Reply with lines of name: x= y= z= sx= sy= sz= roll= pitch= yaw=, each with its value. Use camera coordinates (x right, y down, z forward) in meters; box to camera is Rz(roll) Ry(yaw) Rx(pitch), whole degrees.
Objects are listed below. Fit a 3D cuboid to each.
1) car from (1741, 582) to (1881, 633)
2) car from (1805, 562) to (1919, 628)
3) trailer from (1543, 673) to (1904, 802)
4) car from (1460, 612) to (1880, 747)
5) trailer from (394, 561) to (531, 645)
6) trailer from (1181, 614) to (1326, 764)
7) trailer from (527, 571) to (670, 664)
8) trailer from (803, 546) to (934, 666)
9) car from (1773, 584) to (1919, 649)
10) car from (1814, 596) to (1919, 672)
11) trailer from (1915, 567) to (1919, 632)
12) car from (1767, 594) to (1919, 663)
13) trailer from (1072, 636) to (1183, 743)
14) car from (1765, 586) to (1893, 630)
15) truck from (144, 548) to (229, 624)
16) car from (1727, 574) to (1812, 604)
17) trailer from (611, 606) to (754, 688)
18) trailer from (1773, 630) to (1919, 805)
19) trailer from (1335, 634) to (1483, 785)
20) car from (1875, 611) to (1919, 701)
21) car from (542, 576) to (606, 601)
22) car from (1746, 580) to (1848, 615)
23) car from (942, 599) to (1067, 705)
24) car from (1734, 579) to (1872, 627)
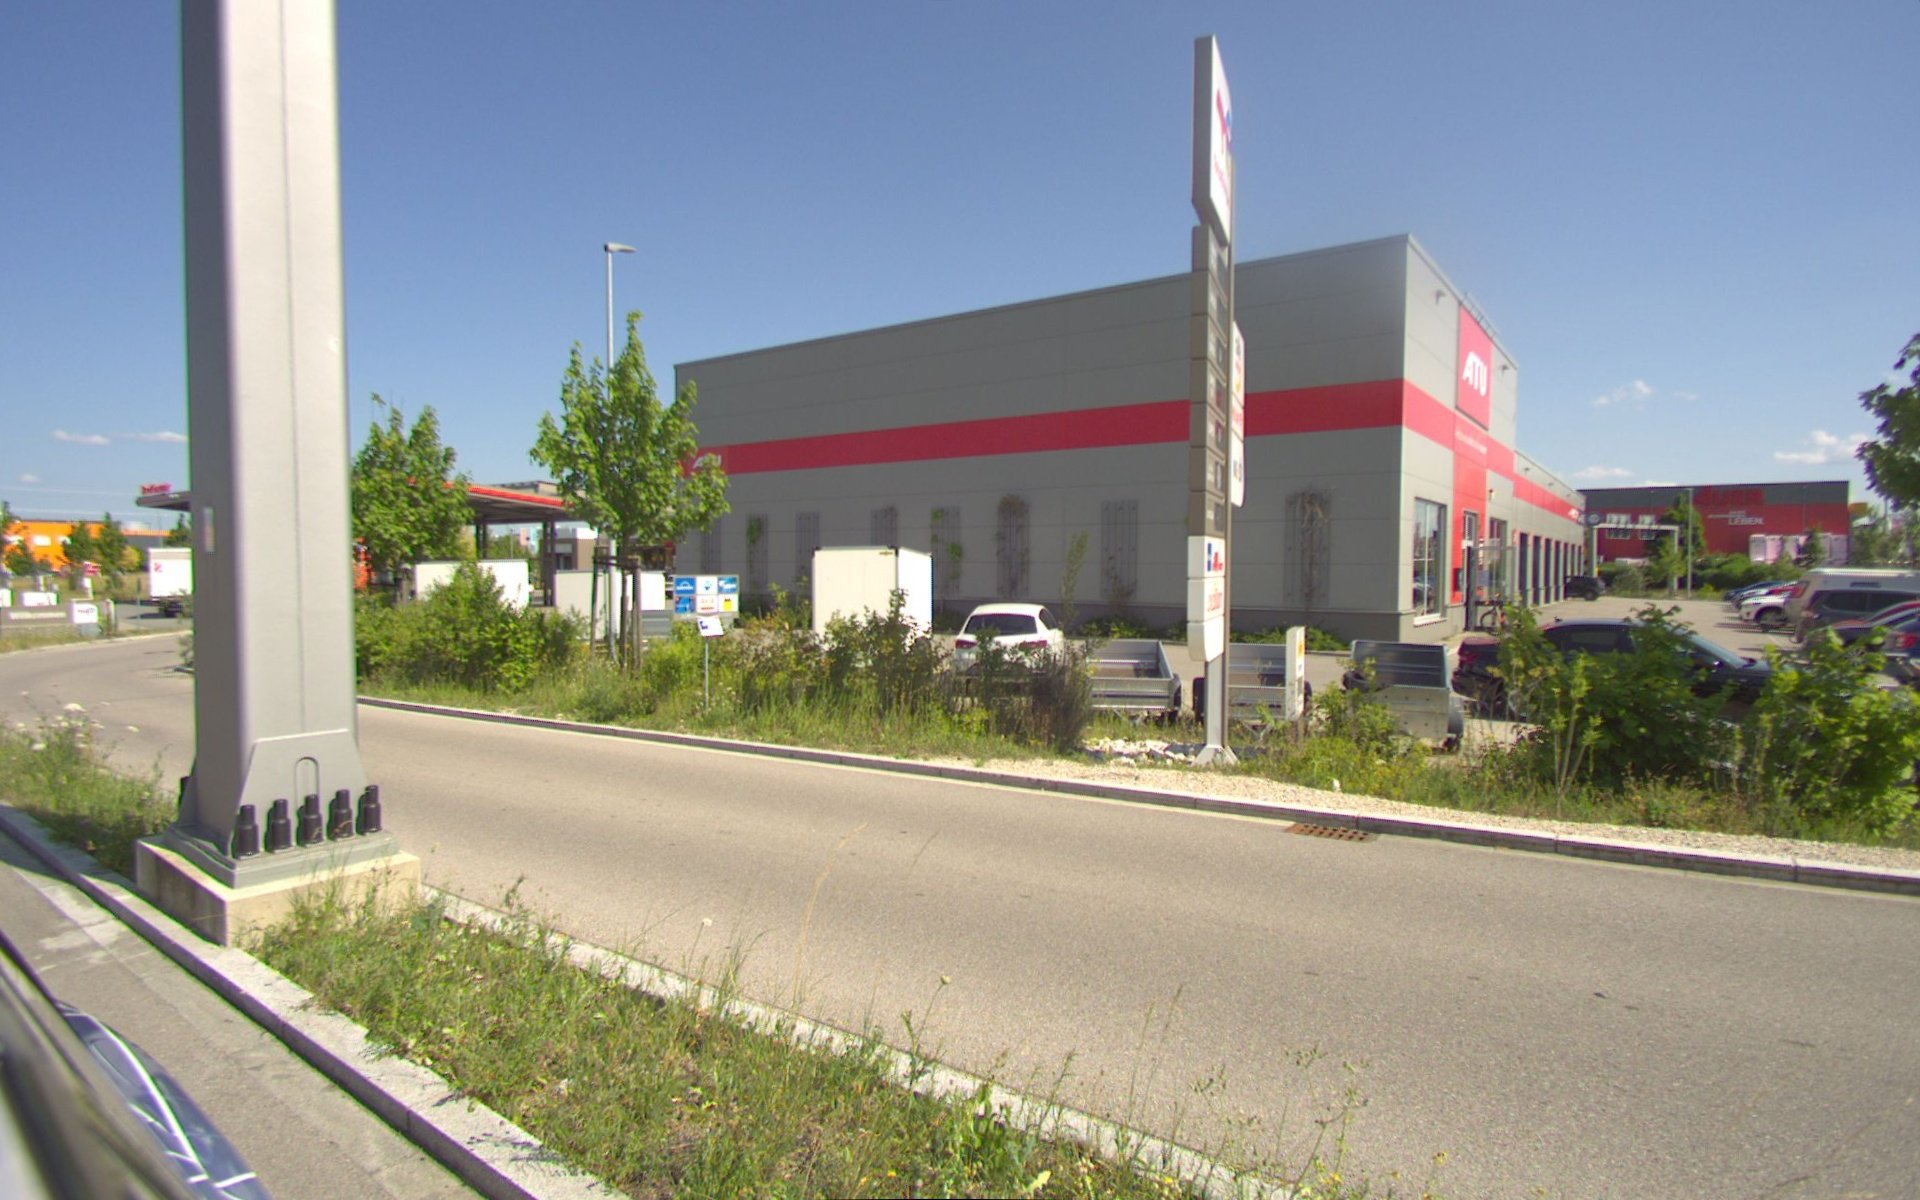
car: x=29.812 y=0.243 z=35.603 sx=3.690 sy=1.662 sz=1.721 roll=0 pitch=2 yaw=39
car: x=29.782 y=-0.175 z=32.176 sx=4.340 sy=2.028 sz=1.881 roll=0 pitch=2 yaw=36
trailer: x=7.788 y=1.364 z=10.685 sx=1.844 sy=0.888 sz=2.832 roll=-1 pitch=1 yaw=7
car: x=9.533 y=0.949 z=13.902 sx=4.494 sy=1.494 sz=1.780 roll=0 pitch=1 yaw=40
trailer: x=-12.936 y=0.032 z=26.540 sx=1.972 sy=2.028 sz=3.207 roll=-1 pitch=1 yaw=0
trailer: x=3.751 y=1.005 z=12.804 sx=1.536 sy=1.494 sz=3.172 roll=-1 pitch=1 yaw=18
trailer: x=-8.376 y=0.368 z=23.661 sx=1.979 sy=2.028 sz=2.727 roll=-1 pitch=1 yaw=12
trailer: x=-1.612 y=0.066 z=18.908 sx=1.727 sy=2.028 sz=3.232 roll=-1 pitch=1 yaw=8
car: x=22.597 y=0.375 z=24.918 sx=3.997 sy=1.475 sz=1.801 roll=0 pitch=2 yaw=40
car: x=20.327 y=0.690 z=20.958 sx=3.997 sy=1.475 sz=1.801 roll=0 pitch=2 yaw=40
trailer: x=63.605 y=0.059 z=59.723 sx=2.524 sy=4.185 sz=12.364 roll=-1 pitch=1 yaw=-1
car: x=21.084 y=0.617 z=23.204 sx=3.997 sy=1.475 sz=1.801 roll=0 pitch=2 yaw=40
trailer: x=2.208 y=1.122 z=13.495 sx=1.306 sy=1.094 sz=2.768 roll=-1 pitch=1 yaw=9
car: x=35.144 y=0.308 z=41.051 sx=3.734 sy=1.662 sz=1.724 roll=0 pitch=2 yaw=34
truck: x=-36.713 y=-0.706 z=48.229 sx=2.597 sy=3.343 sz=6.925 roll=-2 pitch=2 yaw=-33
car: x=47.321 y=-0.629 z=59.237 sx=3.734 sy=1.662 sz=1.724 roll=0 pitch=2 yaw=34
trailer: x=-6.034 y=0.971 z=22.419 sx=1.583 sy=1.521 sz=3.587 roll=-1 pitch=1 yaw=12
trailer: x=10.081 y=1.222 z=9.740 sx=1.686 sy=1.462 sz=3.693 roll=-1 pitch=4 yaw=5
trailer: x=5.175 y=1.152 z=11.759 sx=1.381 sy=1.332 sz=2.889 roll=-1 pitch=2 yaw=23
car: x=17.632 y=0.931 z=16.365 sx=3.991 sy=1.475 sz=1.804 roll=0 pitch=-1 yaw=35
car: x=-26.075 y=-0.819 z=68.471 sx=3.632 sy=1.586 sz=1.697 roll=-3 pitch=2 yaw=-45
car: x=41.807 y=-0.126 z=50.658 sx=3.734 sy=1.662 sz=1.724 roll=0 pitch=2 yaw=34
car: x=0.901 y=0.830 z=17.972 sx=1.700 sy=1.547 sz=3.988 roll=-1 pitch=1 yaw=10
car: x=31.044 y=0.102 z=37.419 sx=3.734 sy=1.662 sz=1.724 roll=0 pitch=2 yaw=34
